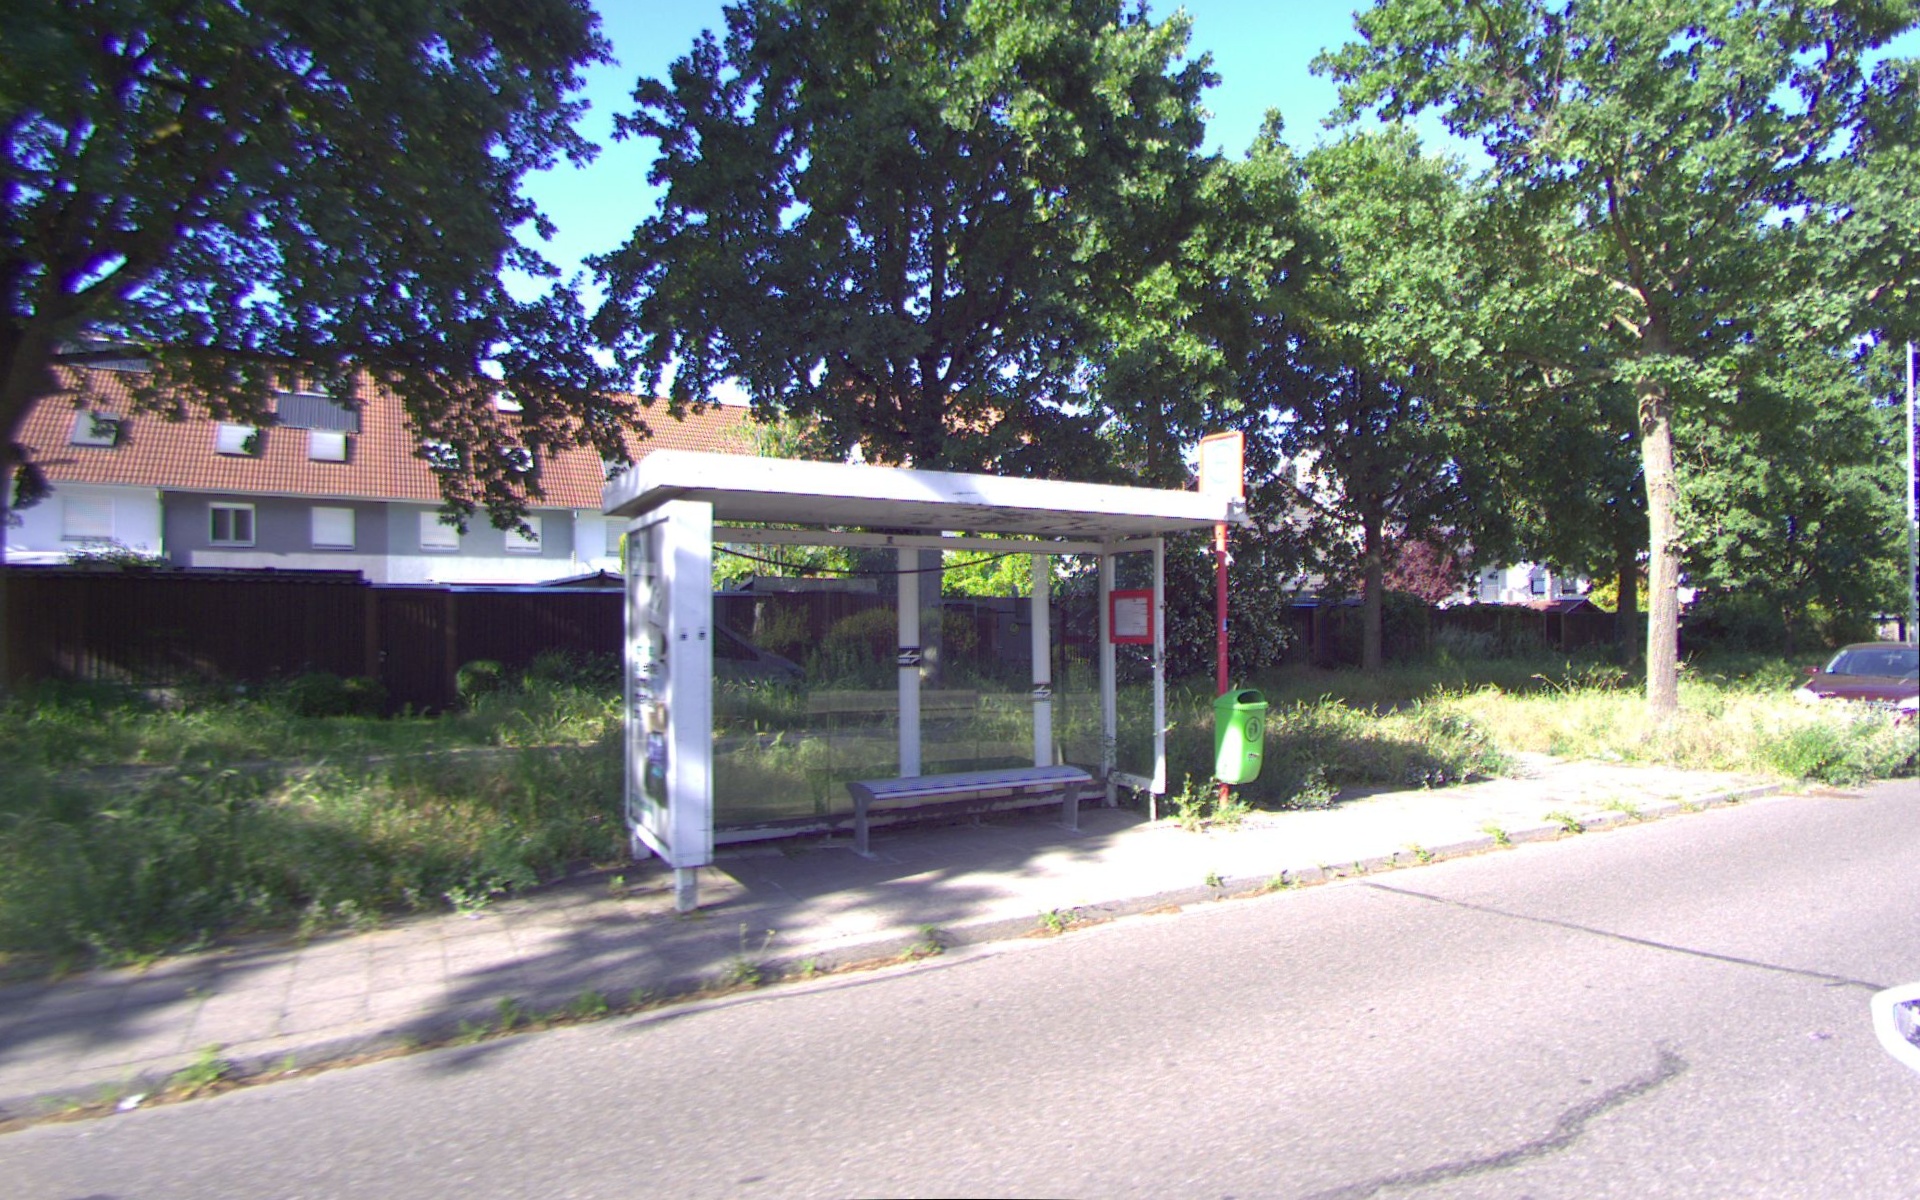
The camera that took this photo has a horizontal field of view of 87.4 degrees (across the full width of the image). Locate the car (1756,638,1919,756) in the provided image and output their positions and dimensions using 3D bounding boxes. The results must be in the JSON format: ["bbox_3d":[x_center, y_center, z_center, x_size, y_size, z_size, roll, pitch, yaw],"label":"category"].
[{"bbox_3d":[13.616,1.319,14.732,3.958,1.499,1.924,1,-2,-34],"label":"car"}]
